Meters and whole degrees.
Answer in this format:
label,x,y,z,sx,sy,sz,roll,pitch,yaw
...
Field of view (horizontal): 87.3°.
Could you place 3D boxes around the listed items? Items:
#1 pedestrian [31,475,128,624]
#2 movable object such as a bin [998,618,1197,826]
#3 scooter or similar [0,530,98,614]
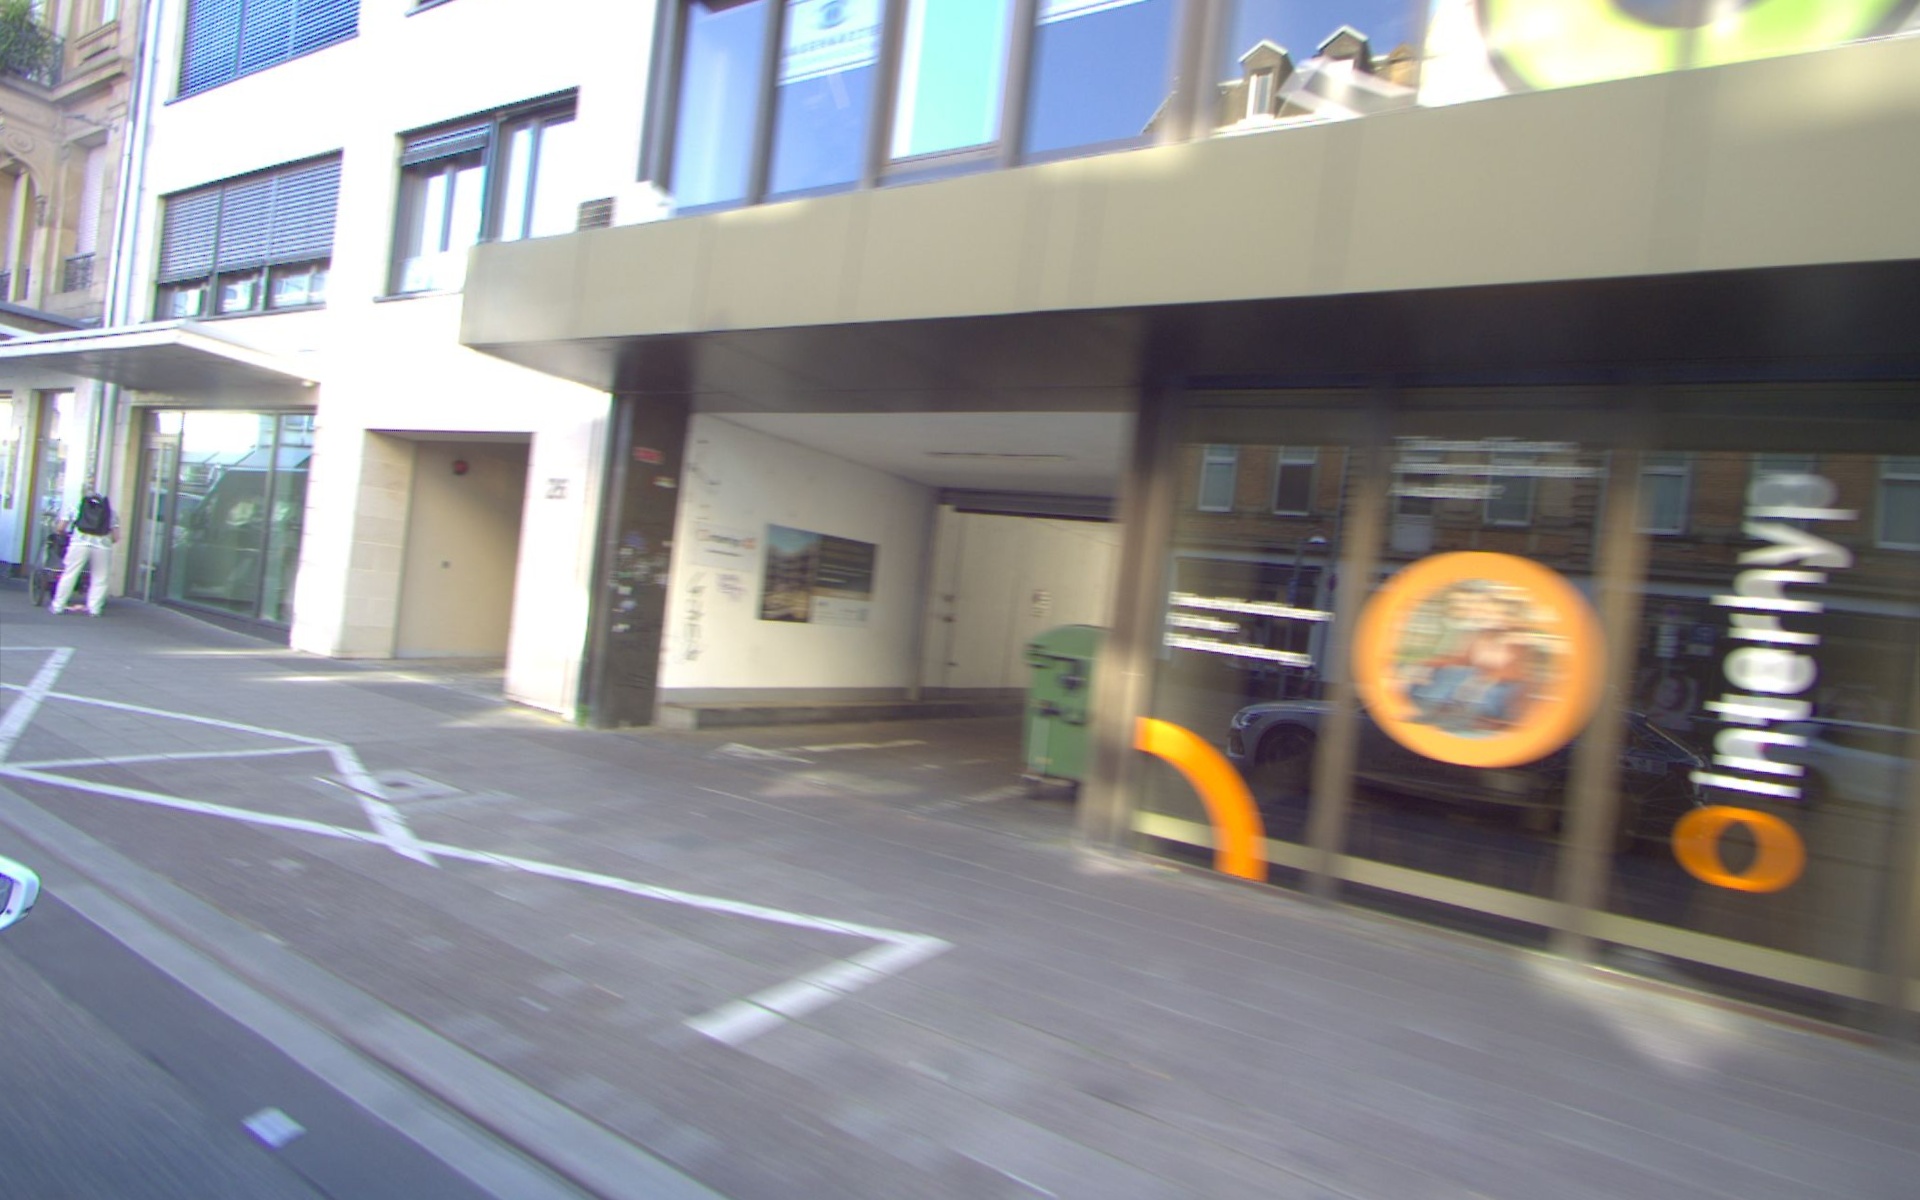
label,x,y,z,sx,sy,sz,roll,pitch,yaw
pedestrian,-10.922,-0.626,12.479,0.938,1.737,0.556,7,2,31
movable object such as a bin,1.172,0.960,8.319,1.020,1.446,1.415,6,0,31
scooter or similar,-11.860,-0.366,13.058,1.276,0.948,0.594,7,2,30
